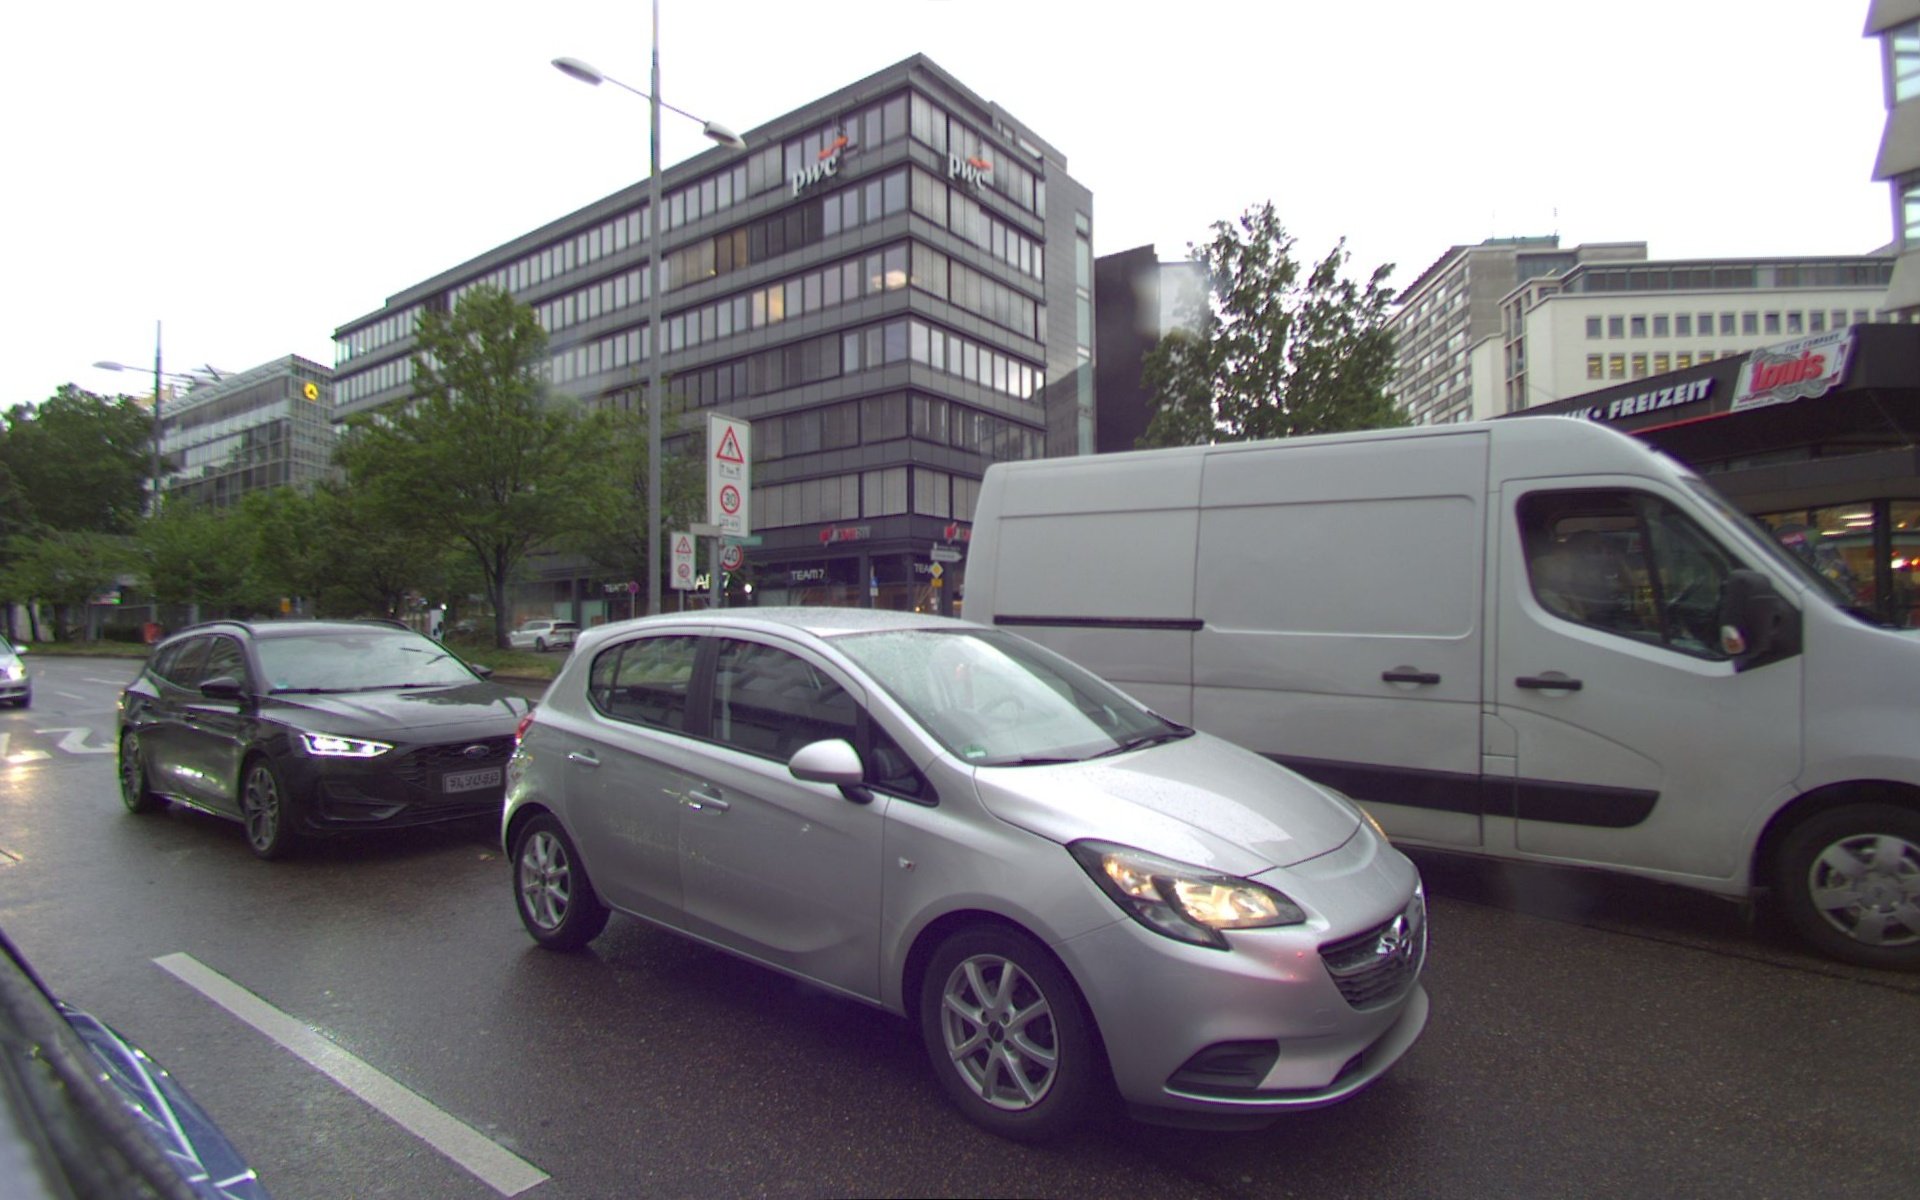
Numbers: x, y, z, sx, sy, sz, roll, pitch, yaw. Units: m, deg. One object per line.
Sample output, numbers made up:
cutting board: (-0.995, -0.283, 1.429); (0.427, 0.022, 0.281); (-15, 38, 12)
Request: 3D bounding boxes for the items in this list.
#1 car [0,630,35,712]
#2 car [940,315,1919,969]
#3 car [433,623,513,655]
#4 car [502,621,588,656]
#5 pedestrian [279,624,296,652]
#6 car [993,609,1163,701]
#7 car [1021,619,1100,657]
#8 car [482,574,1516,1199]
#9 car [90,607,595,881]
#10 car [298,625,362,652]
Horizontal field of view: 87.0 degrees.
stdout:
car: (-18.439, 1.284, 18.474); (4.091, 1.391, 1.754); (-2, -1, 40)
car: (2.645, 0.201, 5.746); (5.470, 2.459, 1.928); (-2, -1, 37)
car: (-24.593, 1.975, 51.110); (4.100, 1.518, 1.975); (-2, -1, 36)
car: (-19.405, 1.792, 47.259); (3.992, 1.518, 1.975); (-2, -1, 36)
pedestrian: (-49.301, 2.795, 74.166); (0.539, 2.029, 0.917); (-2, -1, 39)
car: (2.171, 0.876, 17.613); (1.742, 1.383, 3.965); (-1, -1, 26)
car: (4.545, 1.667, 45.478); (1.847, 1.596, 3.716); (-2, -1, 37)
car: (-0.167, 0.709, 3.980); (3.872, 1.446, 1.631); (-2, -1, 40)
car: (-4.624, 0.823, 7.357); (4.087, 1.446, 1.755); (-2, -1, 37)
car: (-37.937, 2.296, 60.922); (3.992, 1.518, 1.975); (-2, -1, 36)
